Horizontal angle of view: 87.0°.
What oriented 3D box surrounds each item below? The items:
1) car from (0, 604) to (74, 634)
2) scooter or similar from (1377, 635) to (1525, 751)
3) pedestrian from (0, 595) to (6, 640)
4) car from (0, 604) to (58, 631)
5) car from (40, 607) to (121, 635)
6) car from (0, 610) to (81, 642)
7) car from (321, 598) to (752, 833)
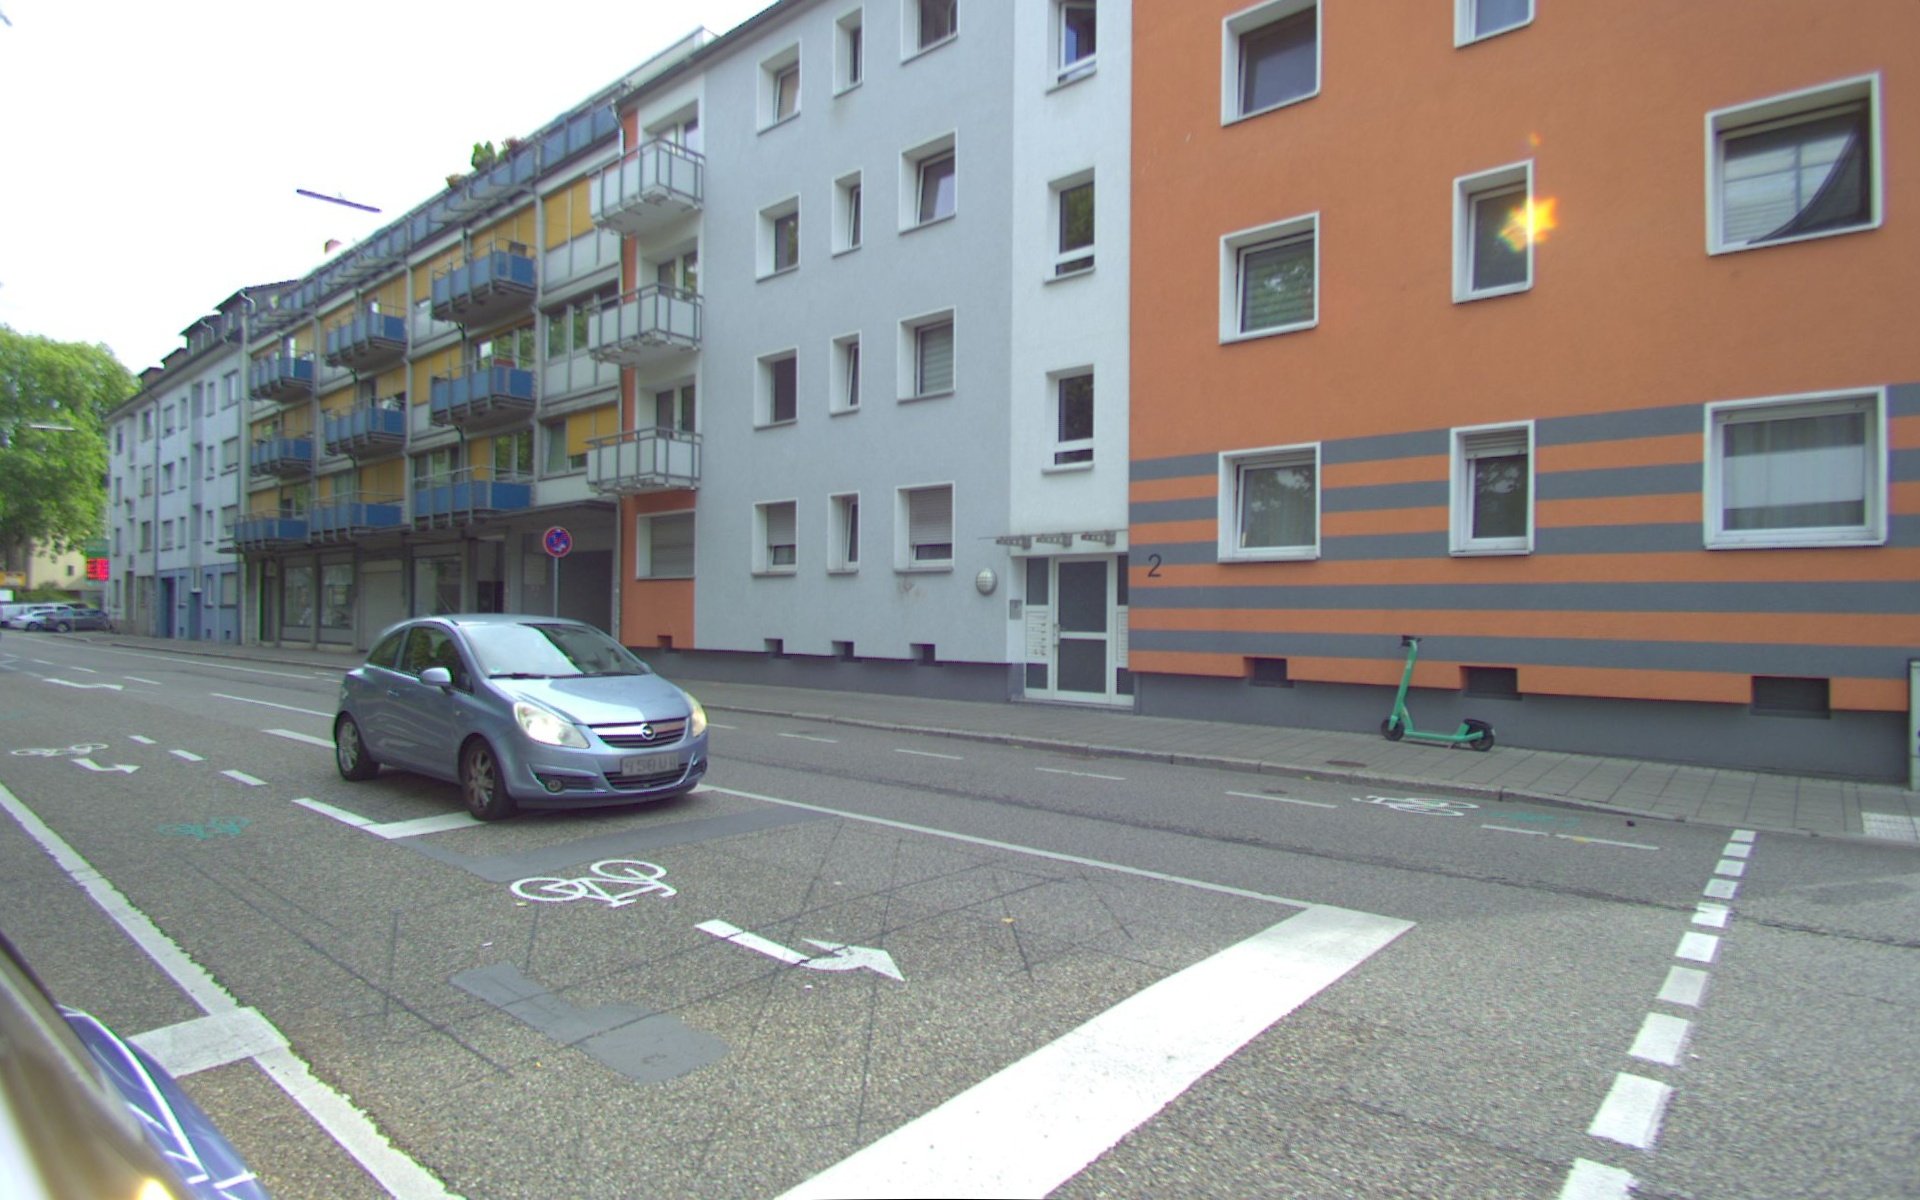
[{"bbox_3d":[-64.993,1.307,71.027,1.998,2.029,3.947,-1,0,40],"label":"car"},{"bbox_3d":[5.185,0.950,10.726,1.353,1.132,0.364,-1,0,42],"label":"scooter or similar"},{"bbox_3d":[-43.520,0.795,45.536,0.875,2.029,0.831,-1,0,45],"label":"pedestrian"},{"bbox_3d":[-71.790,1.330,77.365,1.998,2.029,3.947,-1,0,40],"label":"car"},{"bbox_3d":[-58.439,1.391,67.310,1.881,1.701,3.822,-1,0,40],"label":"car"},{"bbox_3d":[-62.988,1.745,69.330,1.998,2.029,3.947,-1,0,40],"label":"car"},{"bbox_3d":[-3.527,0.739,8.132,3.817,1.449,1.651,-1,-1,40],"label":"car"}]
